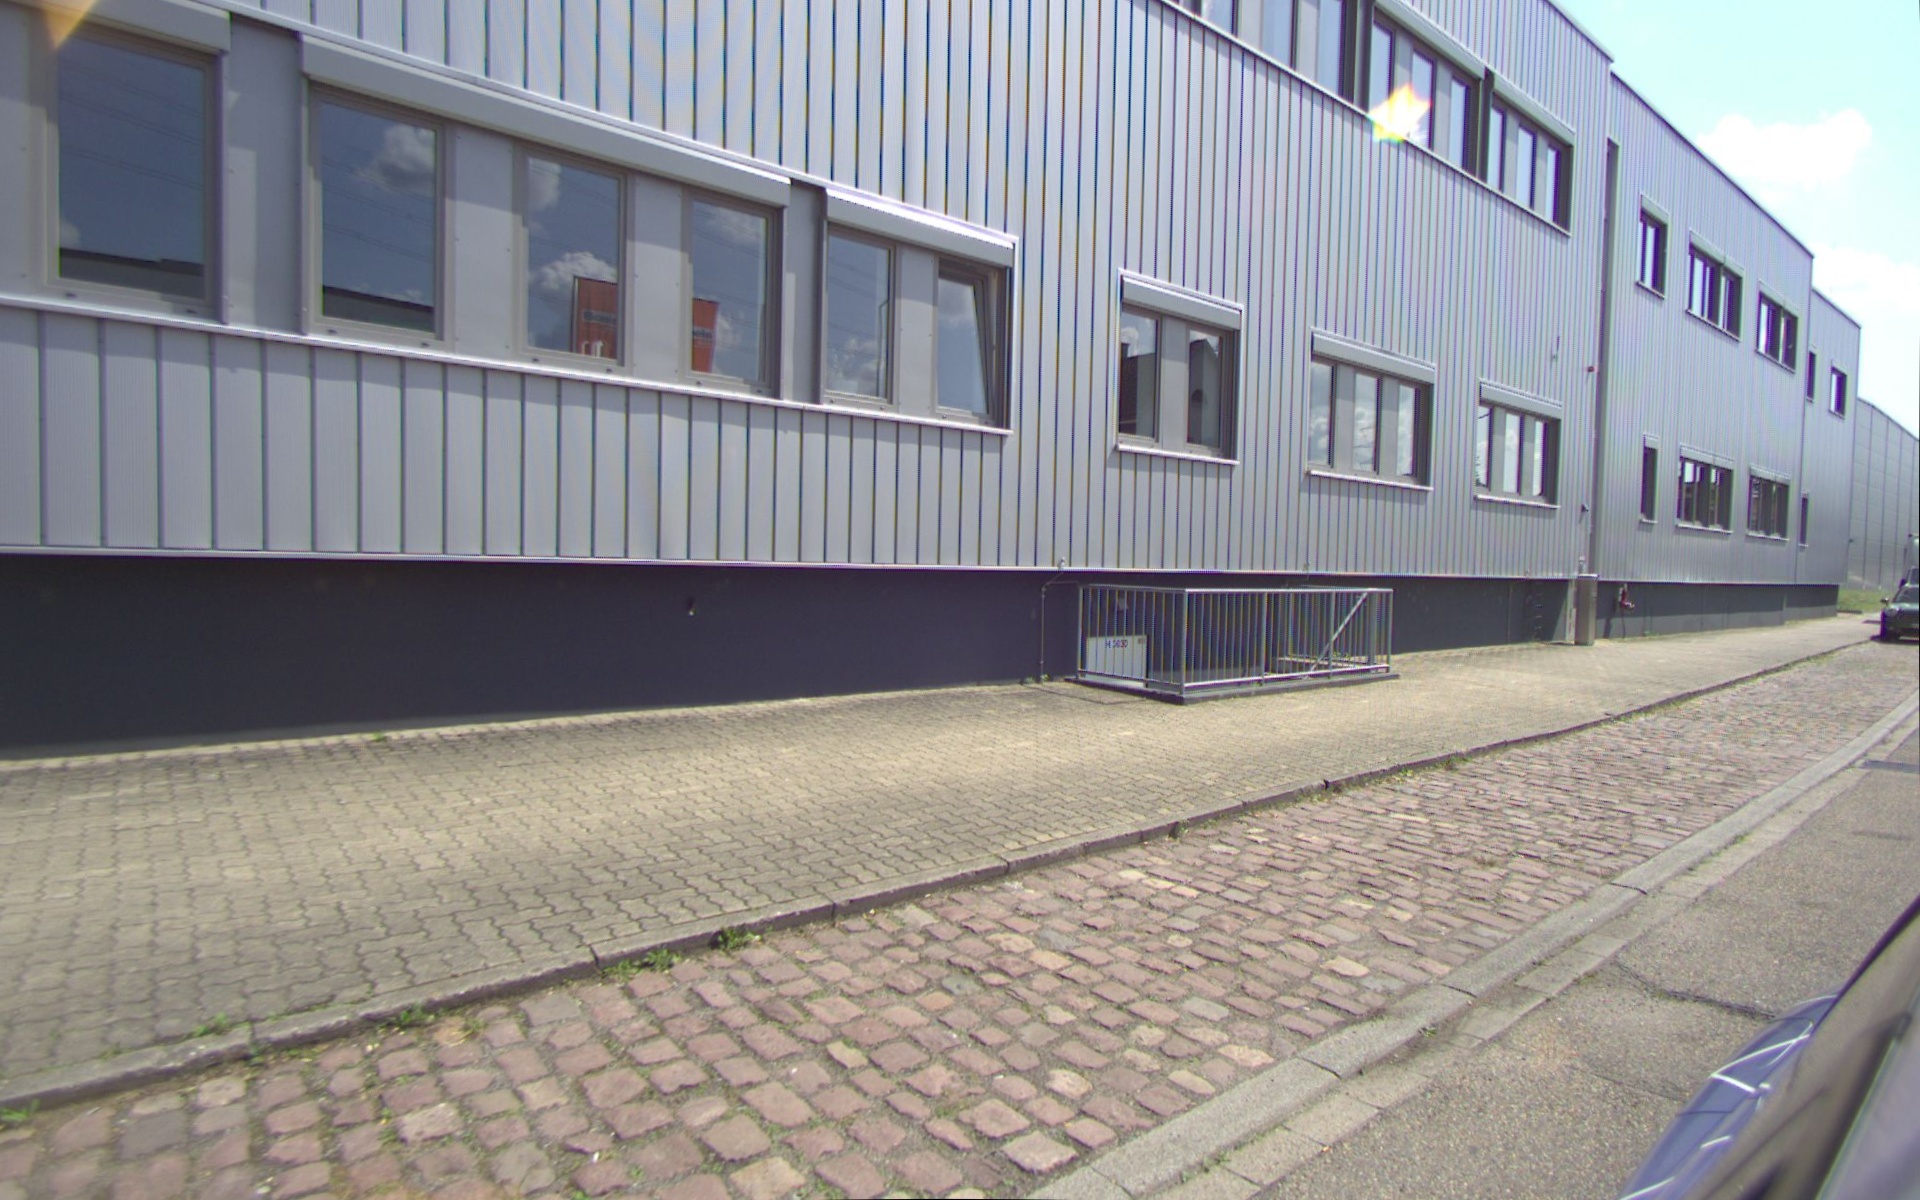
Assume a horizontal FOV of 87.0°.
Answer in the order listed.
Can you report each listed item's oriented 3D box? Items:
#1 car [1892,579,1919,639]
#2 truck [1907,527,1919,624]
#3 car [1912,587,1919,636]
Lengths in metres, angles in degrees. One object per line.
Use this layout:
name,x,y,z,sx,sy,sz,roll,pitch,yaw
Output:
car,26.418,0.199,27.161,4.045,1.530,1.712,-2,1,-42
truck,35.950,-0.923,36.330,2.601,3.266,7.948,-1,1,45
car,30.965,0.307,31.437,4.185,1.451,1.712,-2,1,-42
